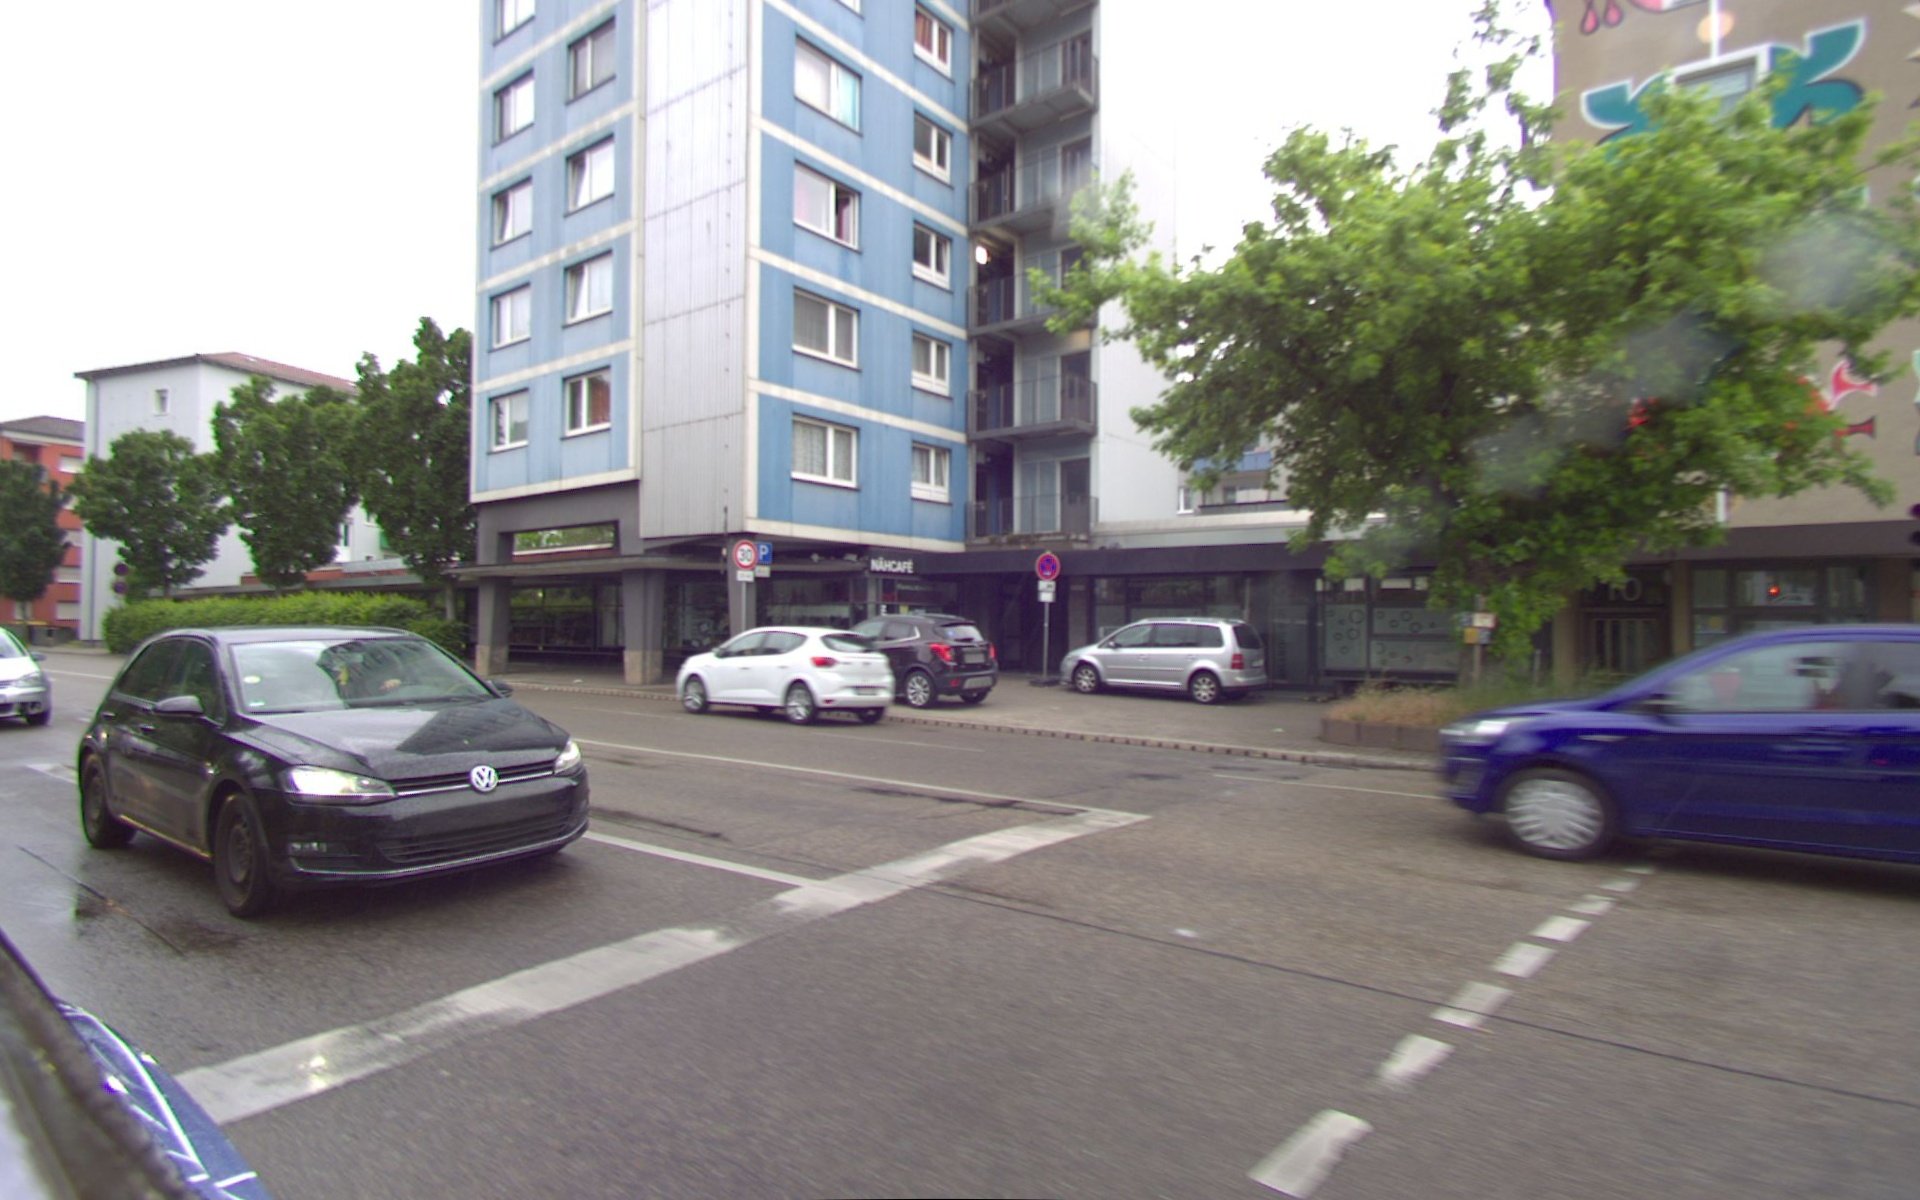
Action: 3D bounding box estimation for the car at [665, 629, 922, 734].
[{"bbox_3d":[-2.806,1.298,16.668,4.084,1.506,1.973,-2,-6,40],"label":"car"}]

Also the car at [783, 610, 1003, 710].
[{"bbox_3d":[-1.358,1.067,19.384,4.281,1.719,1.525,-1,-1,38],"label":"car"}]

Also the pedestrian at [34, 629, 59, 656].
[{"bbox_3d":[-52.677,2.430,58.369,1.064,1.529,0.688,-1,-3,28],"label":"pedestrian"}]

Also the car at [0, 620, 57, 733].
[{"bbox_3d":[-14.587,1.039,14.455,4.154,1.498,1.727,-1,-2,37],"label":"car"}]

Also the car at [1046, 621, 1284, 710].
[{"bbox_3d":[4.229,1.271,21.184,4.503,1.667,1.975,-1,-2,37],"label":"car"}]

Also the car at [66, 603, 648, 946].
[{"bbox_3d":[-3.874,0.821,6.262,3.994,1.464,1.739,-2,-3,37],"label":"car"}]

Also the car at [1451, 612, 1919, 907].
[{"bbox_3d":[5.220,0.866,6.075,3.809,1.503,1.769,-1,-4,39],"label":"car"}]

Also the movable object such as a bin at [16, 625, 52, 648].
[{"bbox_3d":[-61.443,2.395,67.137,2.080,1.496,1.206,-1,-2,31],"label":"movable object such as a bin"}]
